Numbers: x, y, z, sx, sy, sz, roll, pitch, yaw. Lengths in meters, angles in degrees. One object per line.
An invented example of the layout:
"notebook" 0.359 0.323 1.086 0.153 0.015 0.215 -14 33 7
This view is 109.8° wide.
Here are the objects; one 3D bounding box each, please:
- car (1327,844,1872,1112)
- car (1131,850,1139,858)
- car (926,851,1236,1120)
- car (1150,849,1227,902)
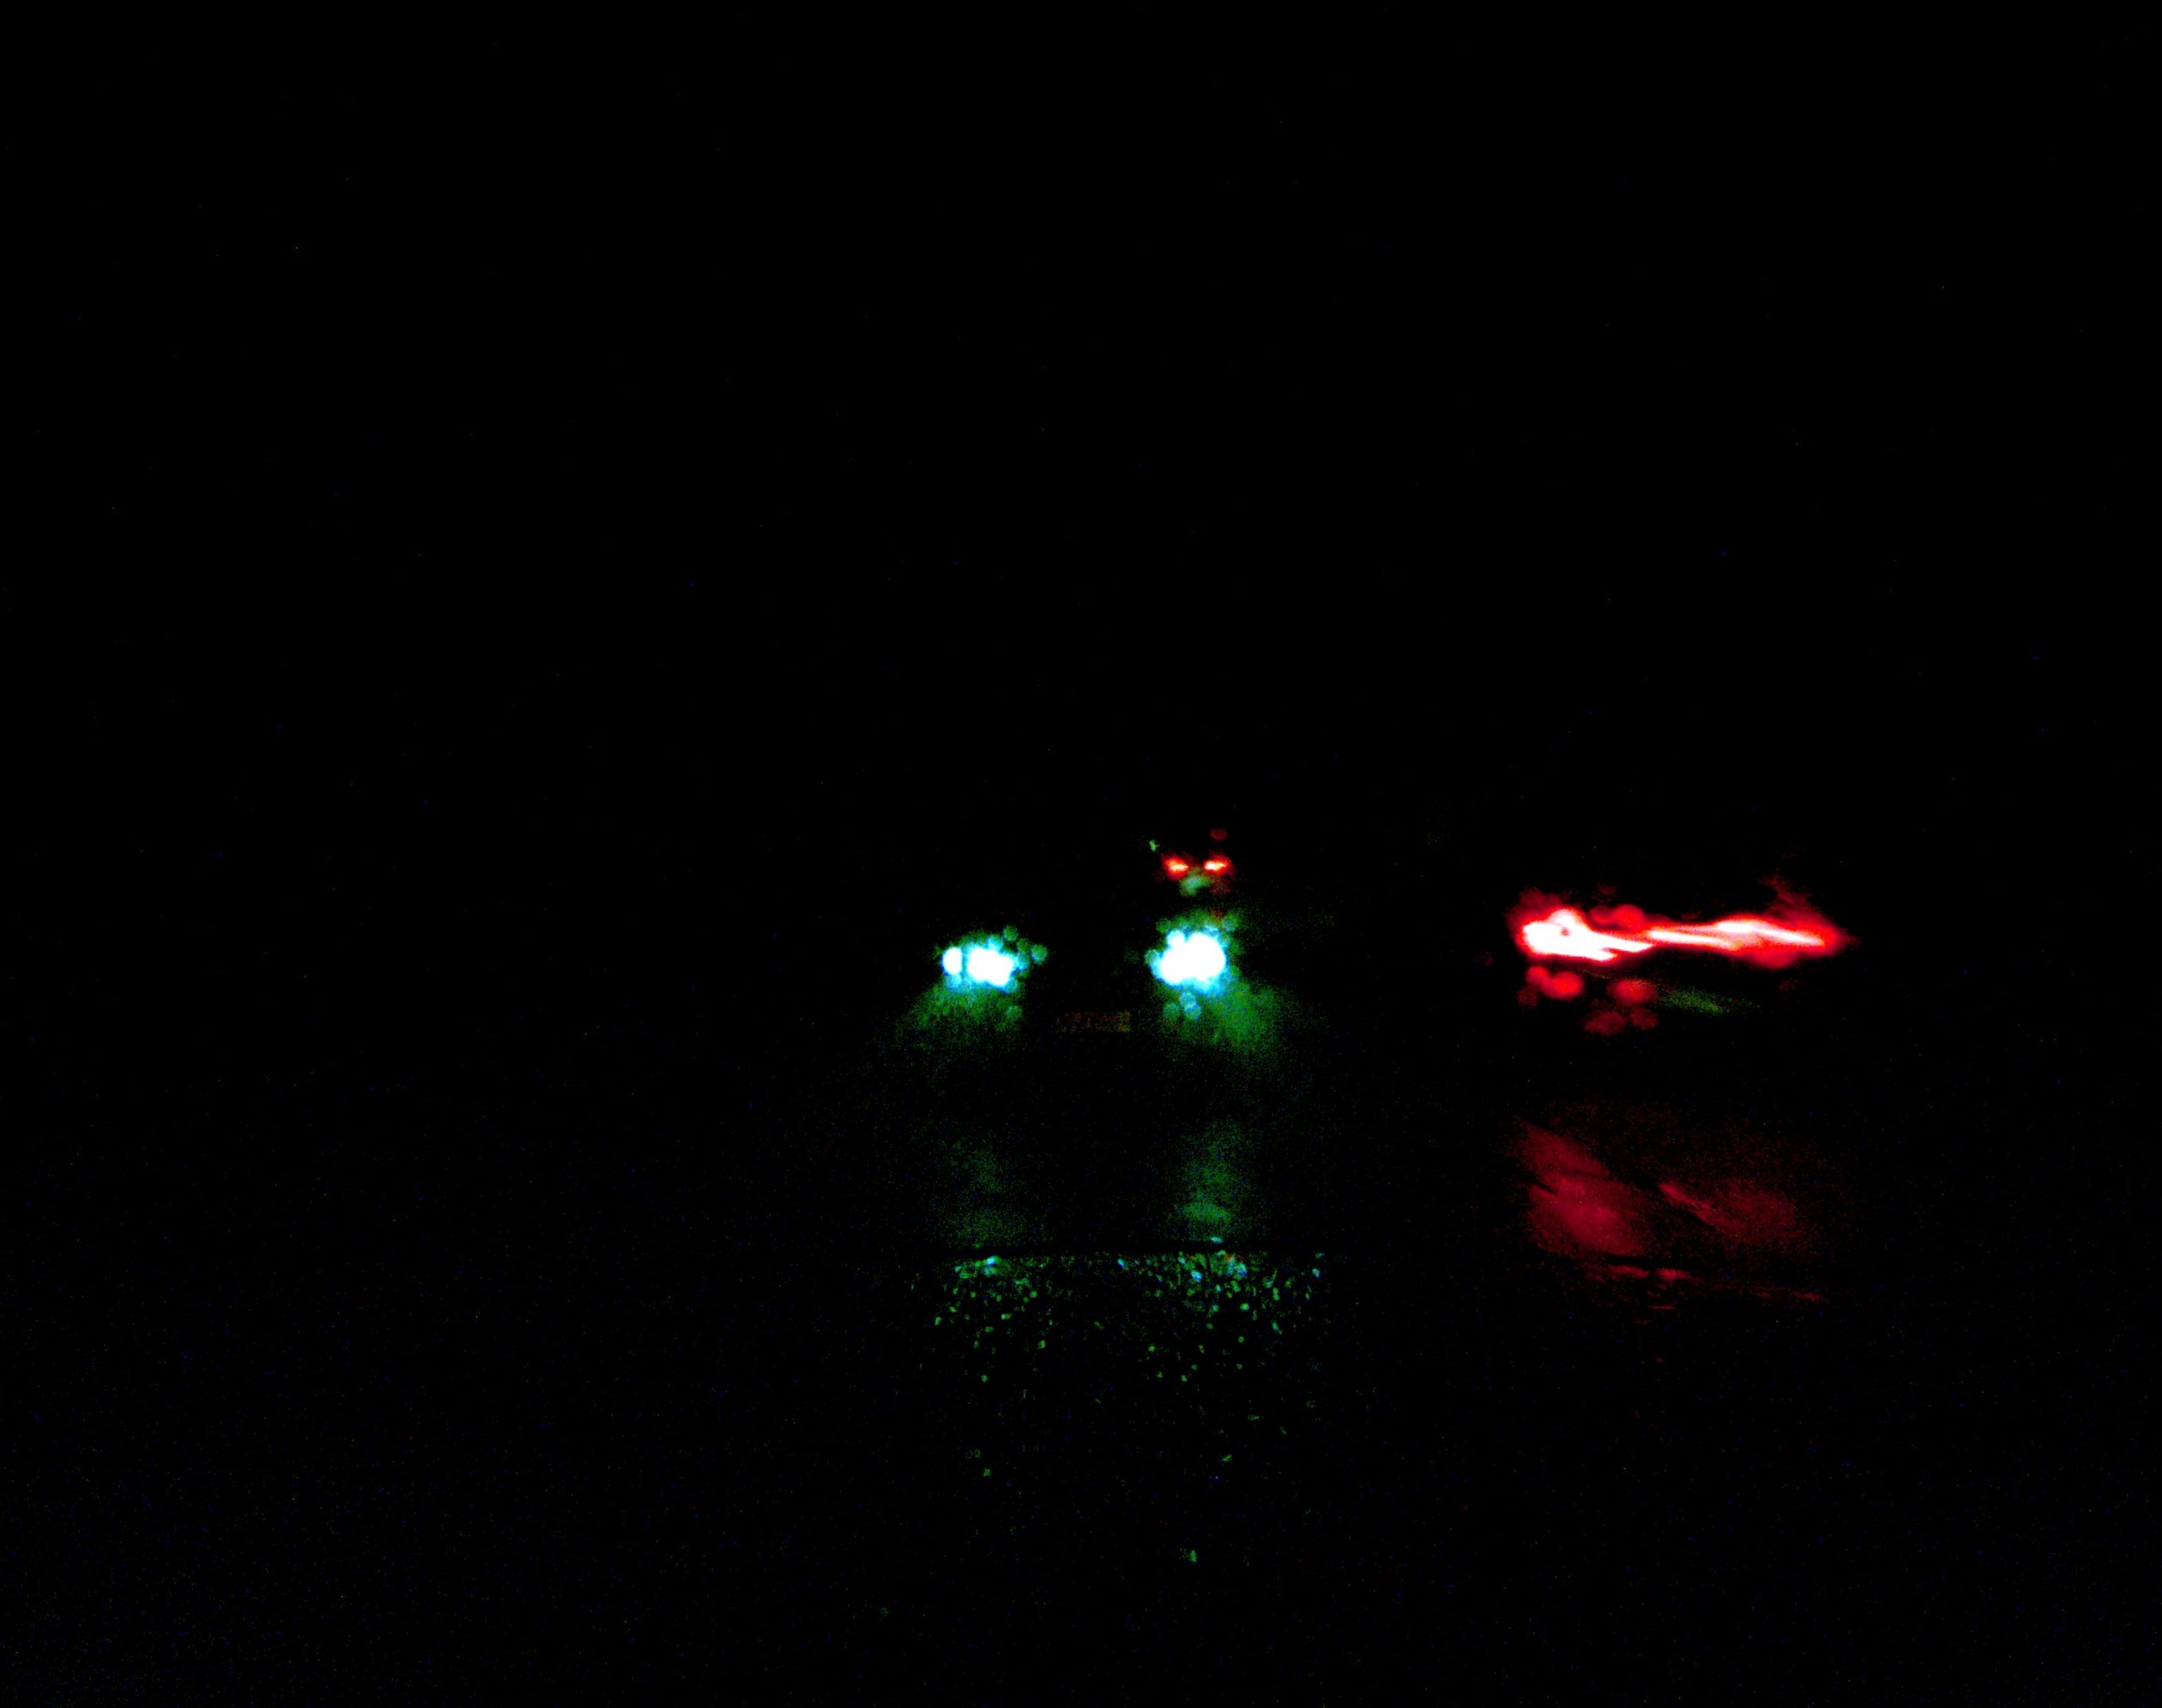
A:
"car" 3.795 0.744 6.675 1.842 1.537 4.257 -2 0 0
"car" 12.319 -0.026 173.486 1.845 1.565 4.000 -2 1 3
"car" 0.096 0.808 6.647 1.845 1.565 4.000 -2 1 3
"car" 3.536 0.670 25.784 1.957 1.646 4.124 -1 0 -1
